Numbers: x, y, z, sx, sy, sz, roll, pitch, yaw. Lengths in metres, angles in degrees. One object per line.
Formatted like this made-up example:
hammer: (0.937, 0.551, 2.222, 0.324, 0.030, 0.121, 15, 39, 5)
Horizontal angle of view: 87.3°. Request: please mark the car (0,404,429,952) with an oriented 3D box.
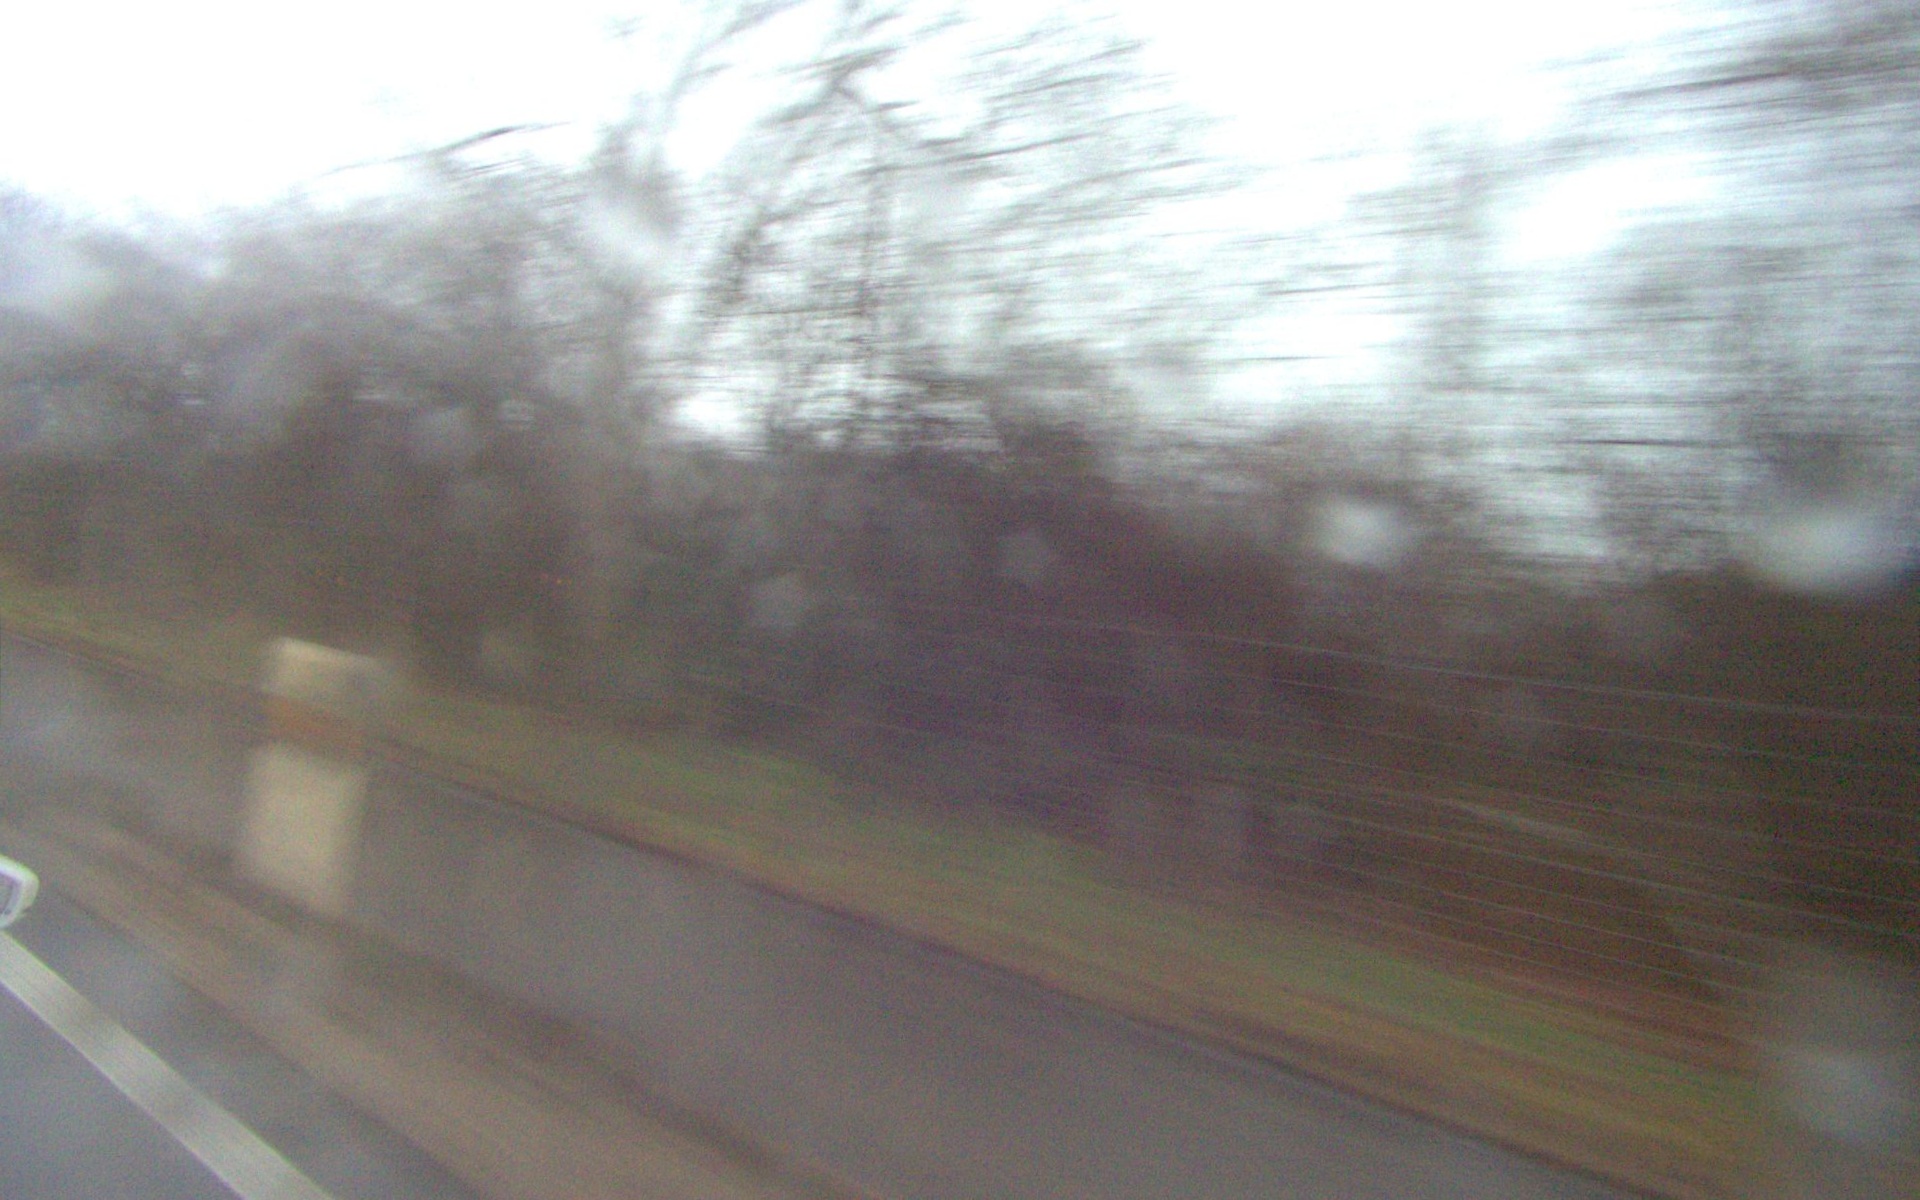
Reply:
car: (-4.566, 0.121, 4.582, 3.934, 1.770, 1.931, 6, -1, 32)
